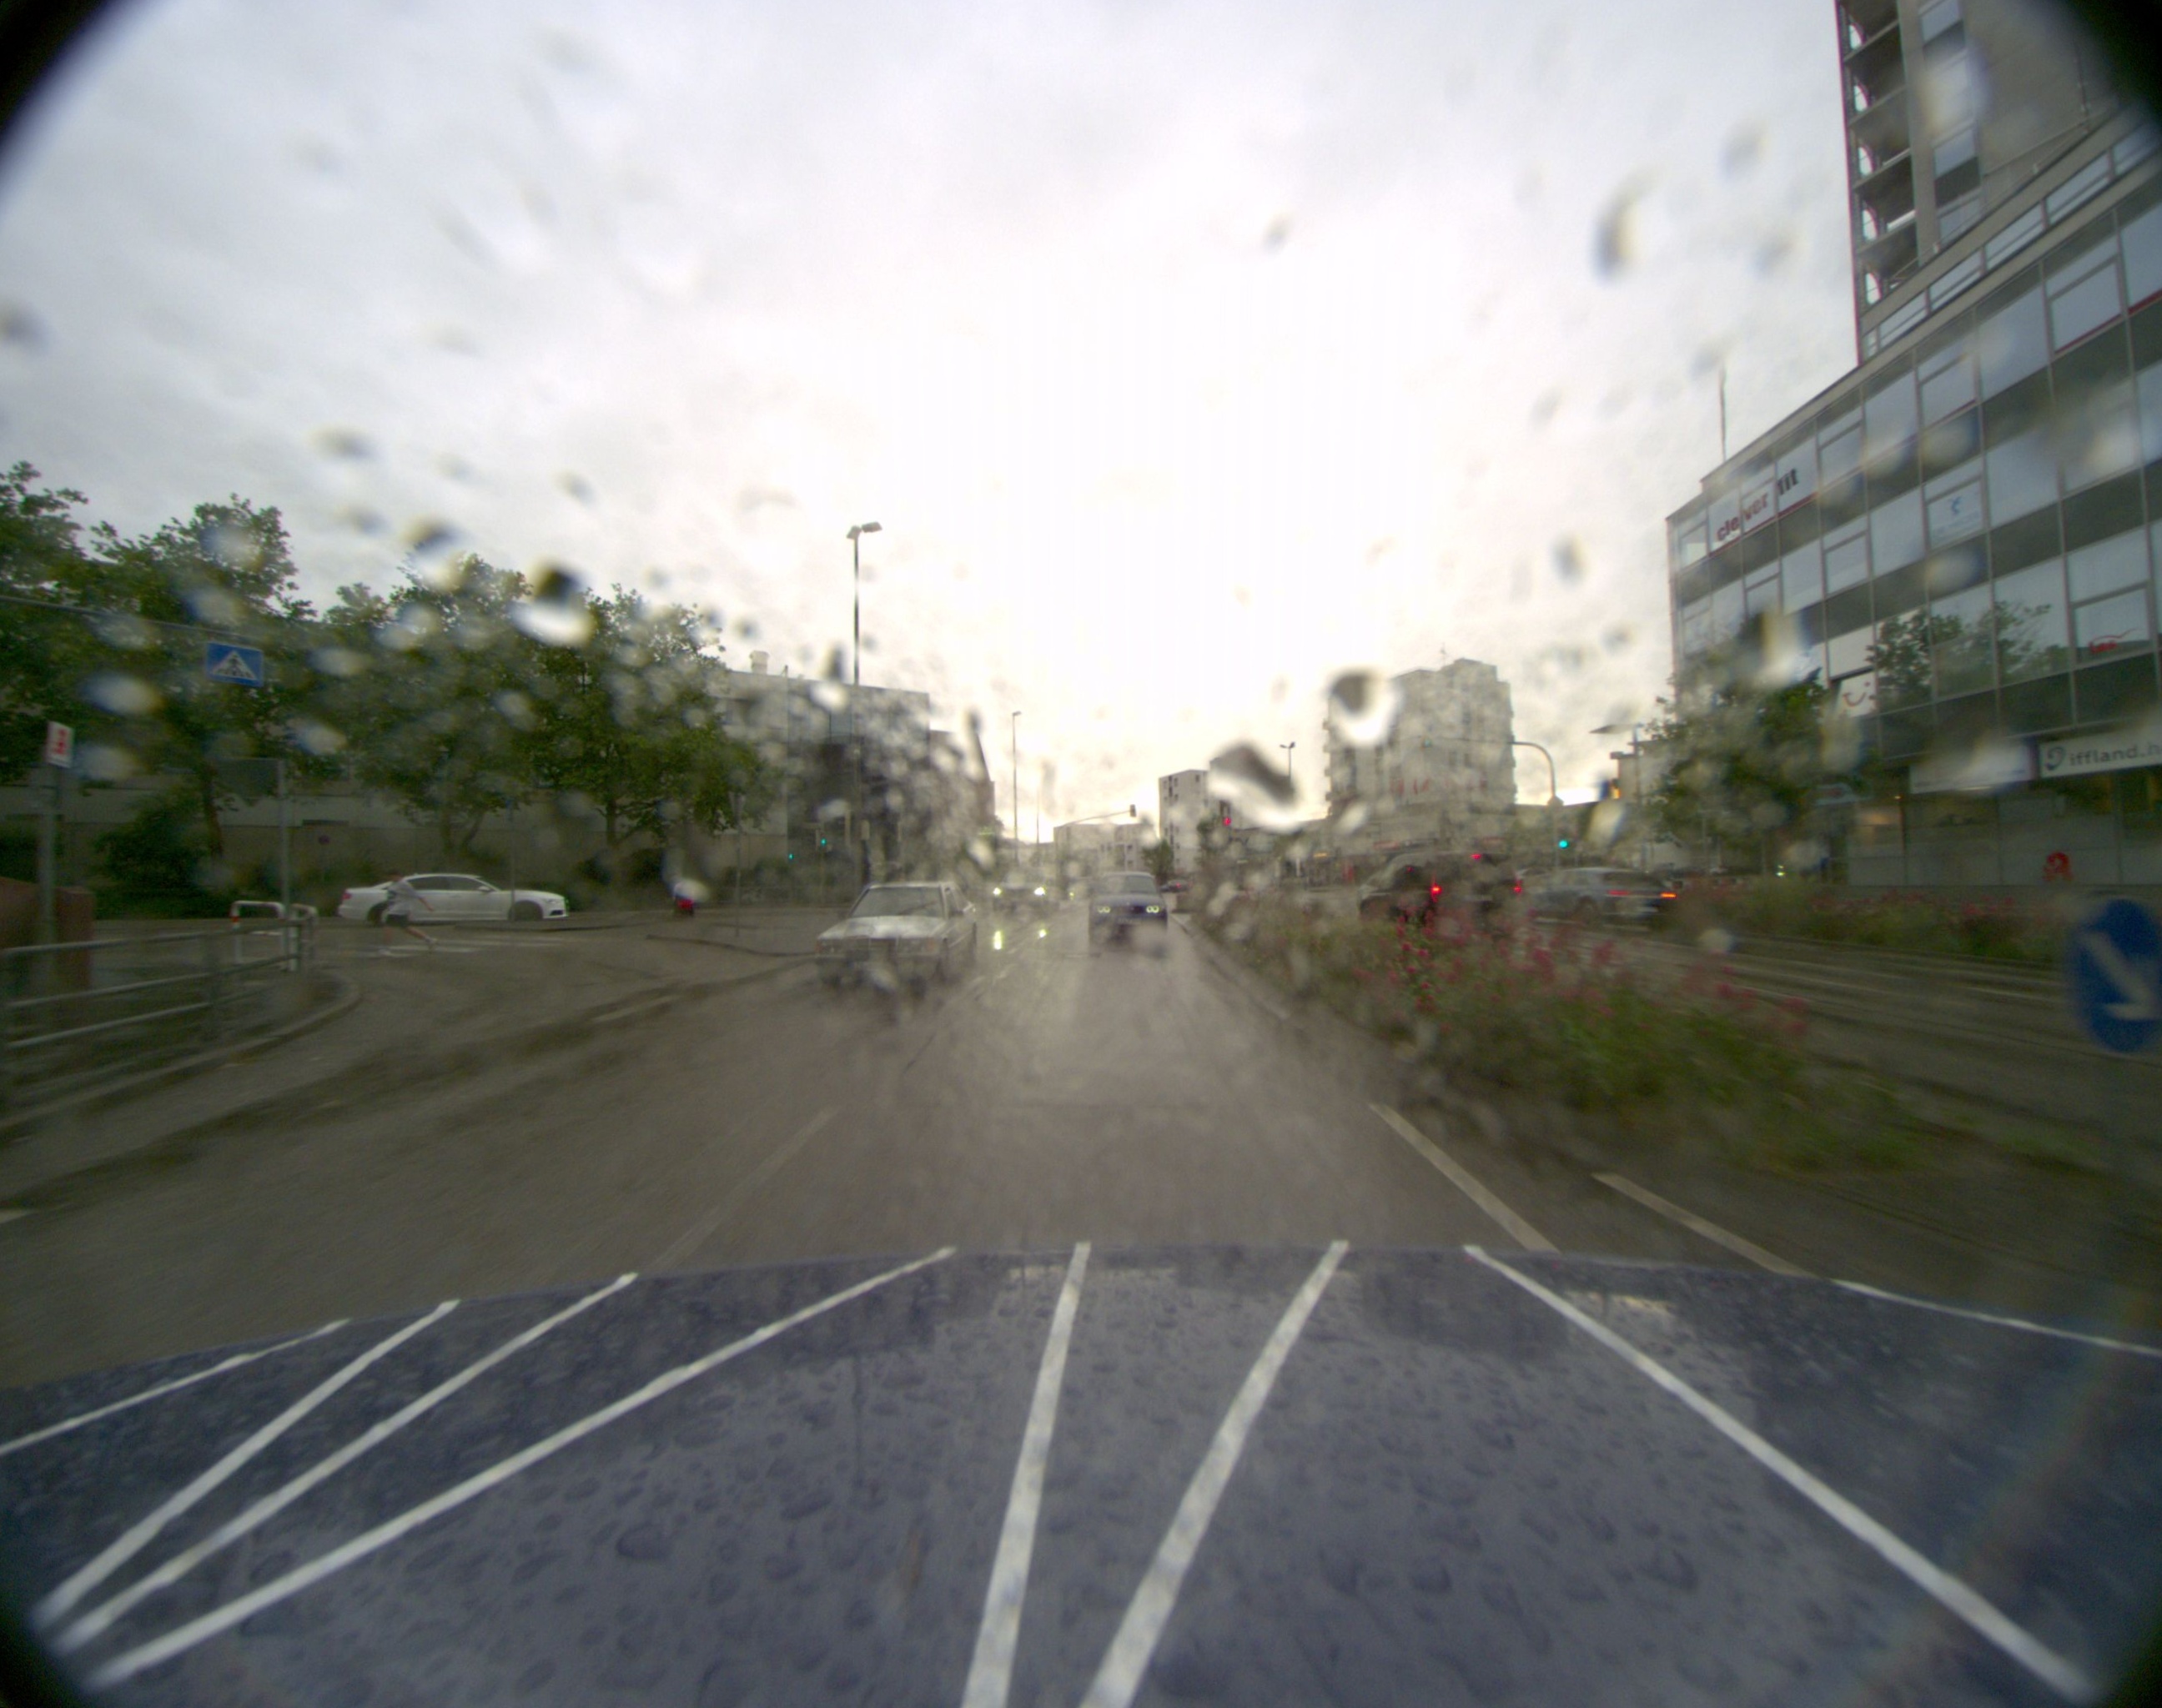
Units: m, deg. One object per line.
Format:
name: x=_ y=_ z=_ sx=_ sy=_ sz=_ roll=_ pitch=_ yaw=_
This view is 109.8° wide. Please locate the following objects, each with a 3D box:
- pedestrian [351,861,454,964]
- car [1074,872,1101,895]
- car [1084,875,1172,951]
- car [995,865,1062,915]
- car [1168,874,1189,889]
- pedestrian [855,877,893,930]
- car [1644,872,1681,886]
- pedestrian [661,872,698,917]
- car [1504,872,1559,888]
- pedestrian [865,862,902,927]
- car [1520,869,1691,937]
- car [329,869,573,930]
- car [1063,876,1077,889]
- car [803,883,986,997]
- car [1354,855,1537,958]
pedestrian: x=-12.518 y=1.034 z=14.041 sx=0.714 sy=1.818 sz=1.266 roll=0 pitch=0 yaw=34
car: x=0.485 y=2.048 z=53.896 sx=1.854 sy=1.490 sz=3.906 roll=0 pitch=0 yaw=2
car: x=0.984 y=1.224 z=16.863 sx=1.688 sy=1.373 sz=3.794 roll=-1 pitch=0 yaw=2
car: x=-1.789 y=1.230 z=27.555 sx=2.058 sy=1.637 sz=4.480 roll=0 pitch=0 yaw=1
car: x=10.514 y=2.940 z=82.093 sx=1.750 sy=1.533 sz=4.421 roll=0 pitch=0 yaw=-1
pedestrian: x=-5.700 y=1.343 z=20.937 sx=0.687 sy=1.371 sz=0.772 roll=3 pitch=0 yaw=9
car: x=49.849 y=2.151 z=65.109 sx=2.574 sy=1.127 sz=1.292 roll=0 pitch=0 yaw=-19
pedestrian: x=-13.176 y=1.313 z=24.931 sx=0.924 sy=1.392 sz=1.209 roll=0 pitch=0 yaw=-36
car: x=33.446 y=1.942 z=56.426 sx=3.682 sy=1.130 sz=1.421 roll=0 pitch=0 yaw=-17
pedestrian: x=-5.673 y=1.152 z=21.842 sx=0.687 sy=1.793 sz=0.797 roll=3 pitch=0 yaw=9
car: x=13.606 y=1.195 z=20.050 sx=1.920 sy=1.539 sz=4.003 roll=1 pitch=0 yaw=4
car: x=-17.227 y=1.187 z=21.160 sx=4.938 sy=1.505 sz=1.847 roll=0 pitch=0 yaw=-28
car: x=-1.149 y=3.059 z=81.900 sx=1.394 sy=1.316 sz=2.862 roll=0 pitch=0 yaw=2
car: x=-2.591 y=1.155 z=11.521 sx=1.662 sy=1.300 sz=3.996 roll=0 pitch=0 yaw=2
car: x=7.207 y=0.943 z=15.539 sx=1.867 sy=1.780 sz=4.001 roll=2 pitch=0 yaw=2
